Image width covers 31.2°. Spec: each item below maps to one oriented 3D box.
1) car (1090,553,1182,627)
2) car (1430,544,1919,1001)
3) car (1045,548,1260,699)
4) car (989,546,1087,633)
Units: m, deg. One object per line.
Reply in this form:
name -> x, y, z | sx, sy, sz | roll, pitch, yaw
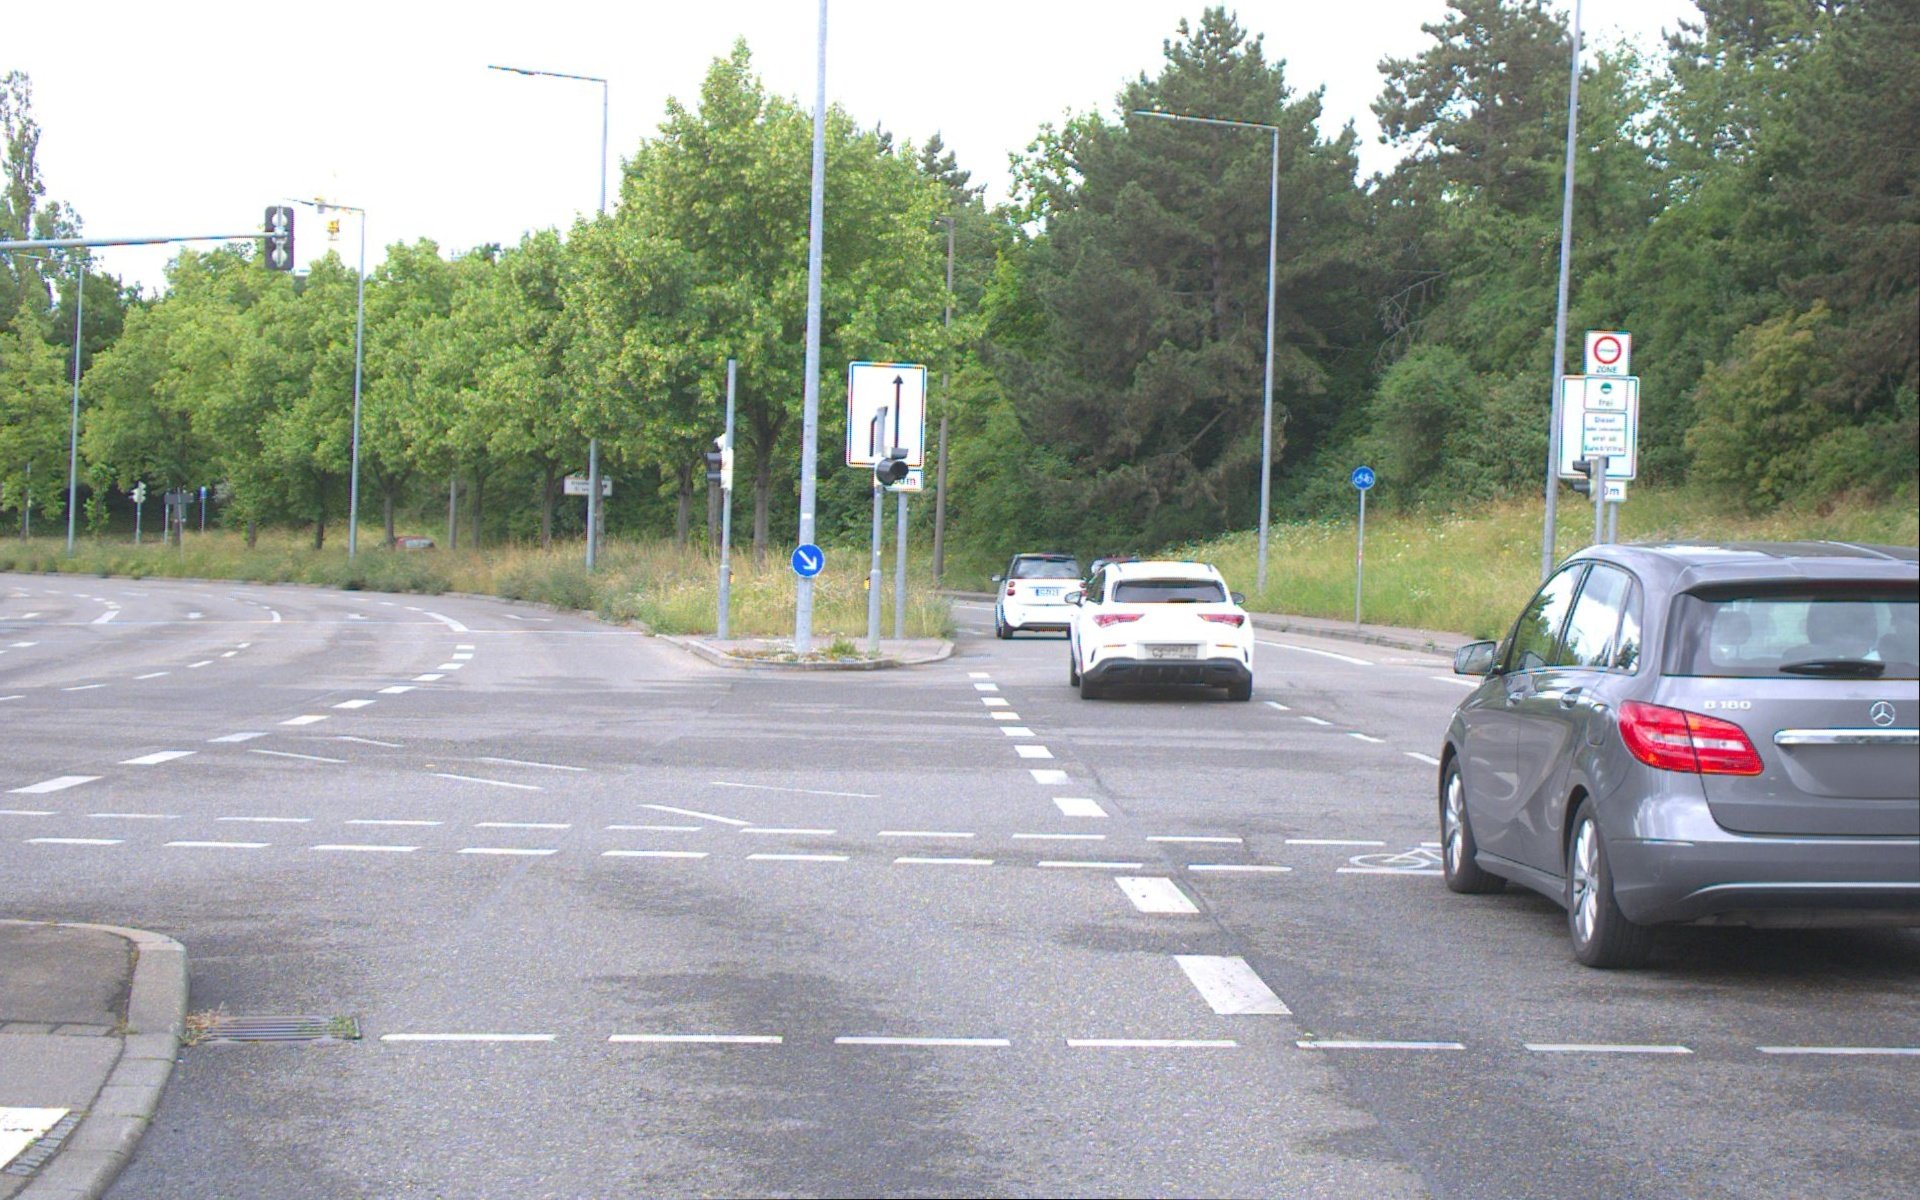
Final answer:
car -> 3.542, -0.218, 69.758 | 1.613, 1.448, 3.882 | 1, 0, 0
car -> 3.030, 0.548, 13.397 | 1.746, 1.503, 4.000 | 1, 1, -1
car -> 2.011, 0.217, 37.111 | 1.844, 1.501, 4.531 | 1, 0, -3
car -> 1.376, -0.199, 61.644 | 1.592, 1.511, 2.767 | 1, 0, -2
